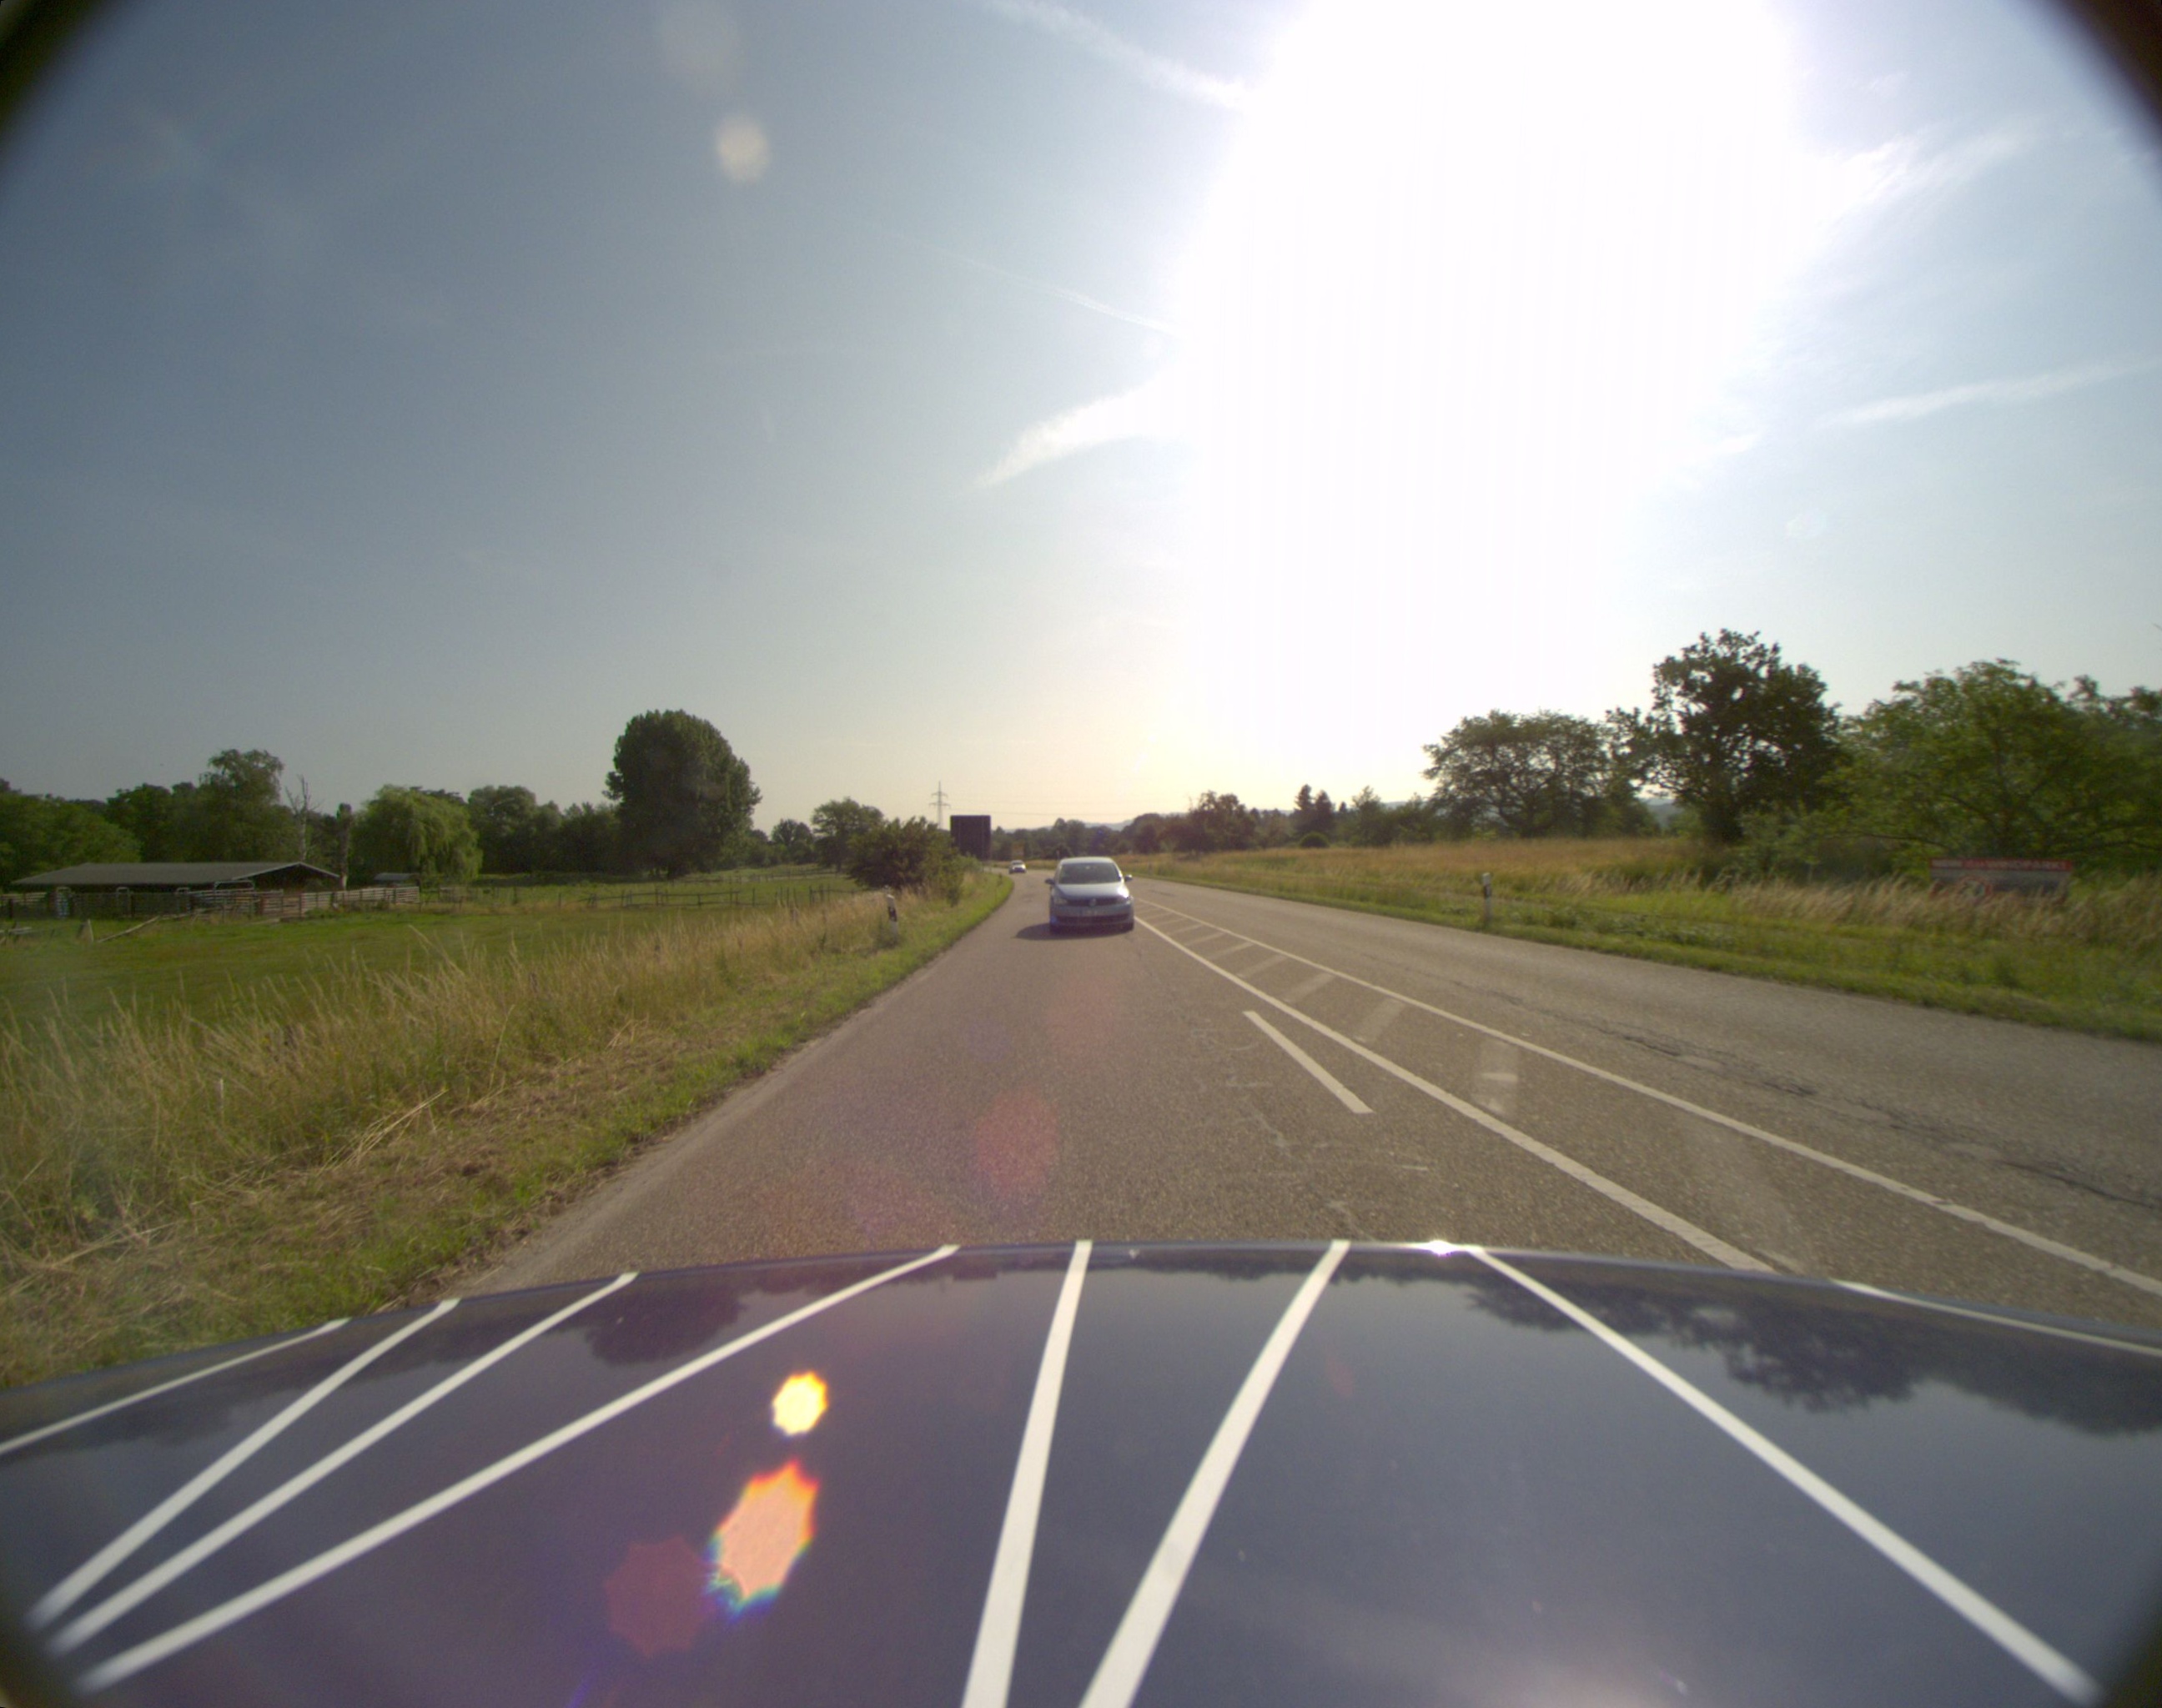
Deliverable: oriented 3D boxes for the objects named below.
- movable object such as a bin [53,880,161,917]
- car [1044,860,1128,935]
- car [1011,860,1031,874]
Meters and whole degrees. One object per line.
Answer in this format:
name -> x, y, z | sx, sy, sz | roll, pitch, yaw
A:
movable object such as a bin -> -64.684, 2.909, 50.580 | 2.000, 2.181, 4.161 | -3, 0, -8
car -> 0.107, 0.948, 18.200 | 1.718, 1.495, 4.094 | -3, 0, 0
car -> -7.265, 1.505, 91.267 | 2.000, 1.570, 3.905 | -2, 0, -10
